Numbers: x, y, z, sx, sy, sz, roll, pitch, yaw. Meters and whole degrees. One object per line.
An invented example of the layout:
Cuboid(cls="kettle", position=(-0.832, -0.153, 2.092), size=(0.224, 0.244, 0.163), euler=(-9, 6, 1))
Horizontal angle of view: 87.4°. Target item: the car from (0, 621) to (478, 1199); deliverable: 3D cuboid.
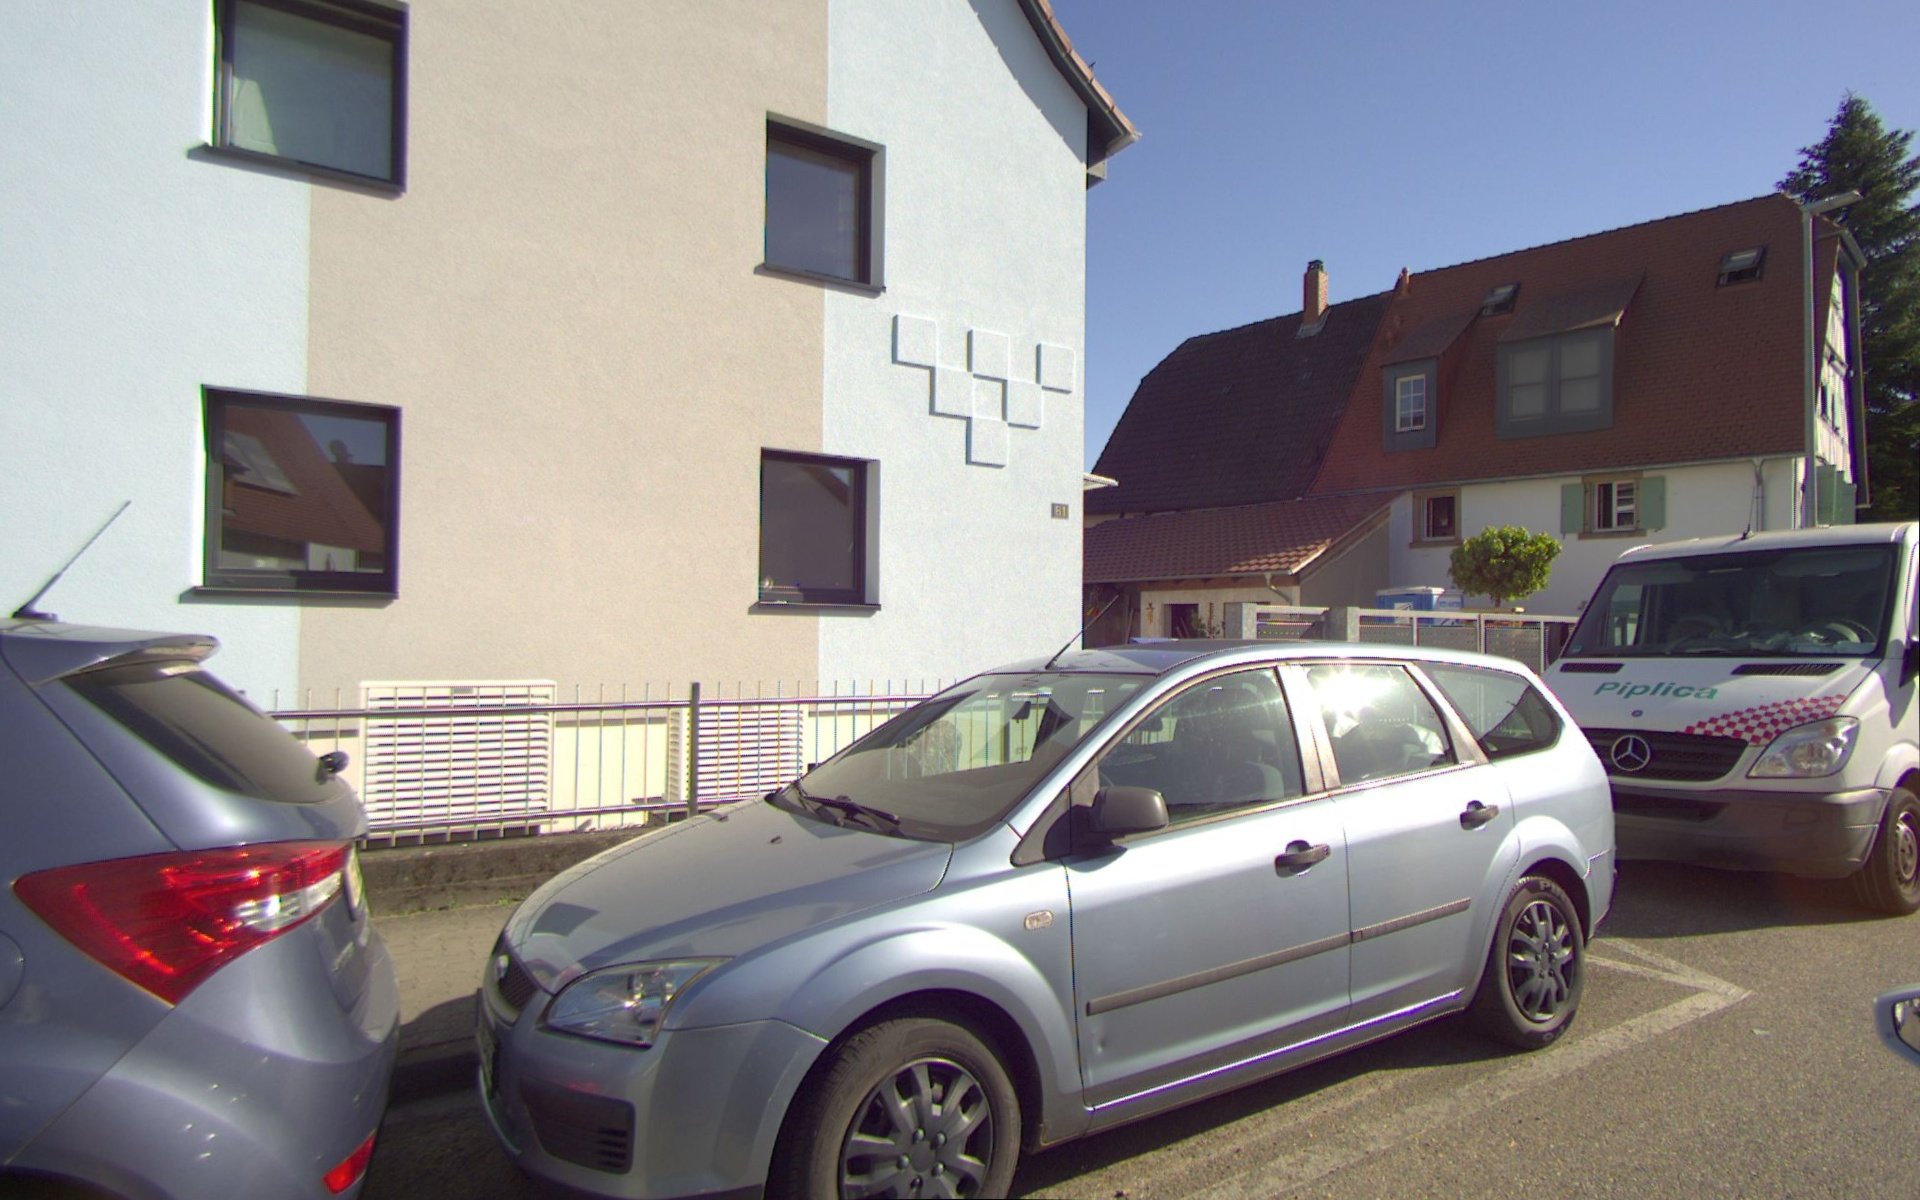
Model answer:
Cuboid(cls="car", position=(-3.003, 0.852, 1.639), size=(3.879, 1.619, 1.707), euler=(1, -2, -31))

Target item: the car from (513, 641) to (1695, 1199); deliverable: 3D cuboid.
Cuboid(cls="car", position=(0.720, 0.948, 3.714), size=(4.186, 1.524, 1.703), euler=(1, -3, -31))

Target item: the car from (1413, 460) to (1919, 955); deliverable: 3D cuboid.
Cuboid(cls="car", position=(6.244, 0.618, 7.424), size=(5.994, 2.421, 2.187), euler=(1, -4, -31))

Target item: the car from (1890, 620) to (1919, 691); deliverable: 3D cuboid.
Cuboid(cls="car", position=(29.711, 1.612, 30.202), size=(5.100, 1.981, 1.924), euler=(0, -2, -40))
